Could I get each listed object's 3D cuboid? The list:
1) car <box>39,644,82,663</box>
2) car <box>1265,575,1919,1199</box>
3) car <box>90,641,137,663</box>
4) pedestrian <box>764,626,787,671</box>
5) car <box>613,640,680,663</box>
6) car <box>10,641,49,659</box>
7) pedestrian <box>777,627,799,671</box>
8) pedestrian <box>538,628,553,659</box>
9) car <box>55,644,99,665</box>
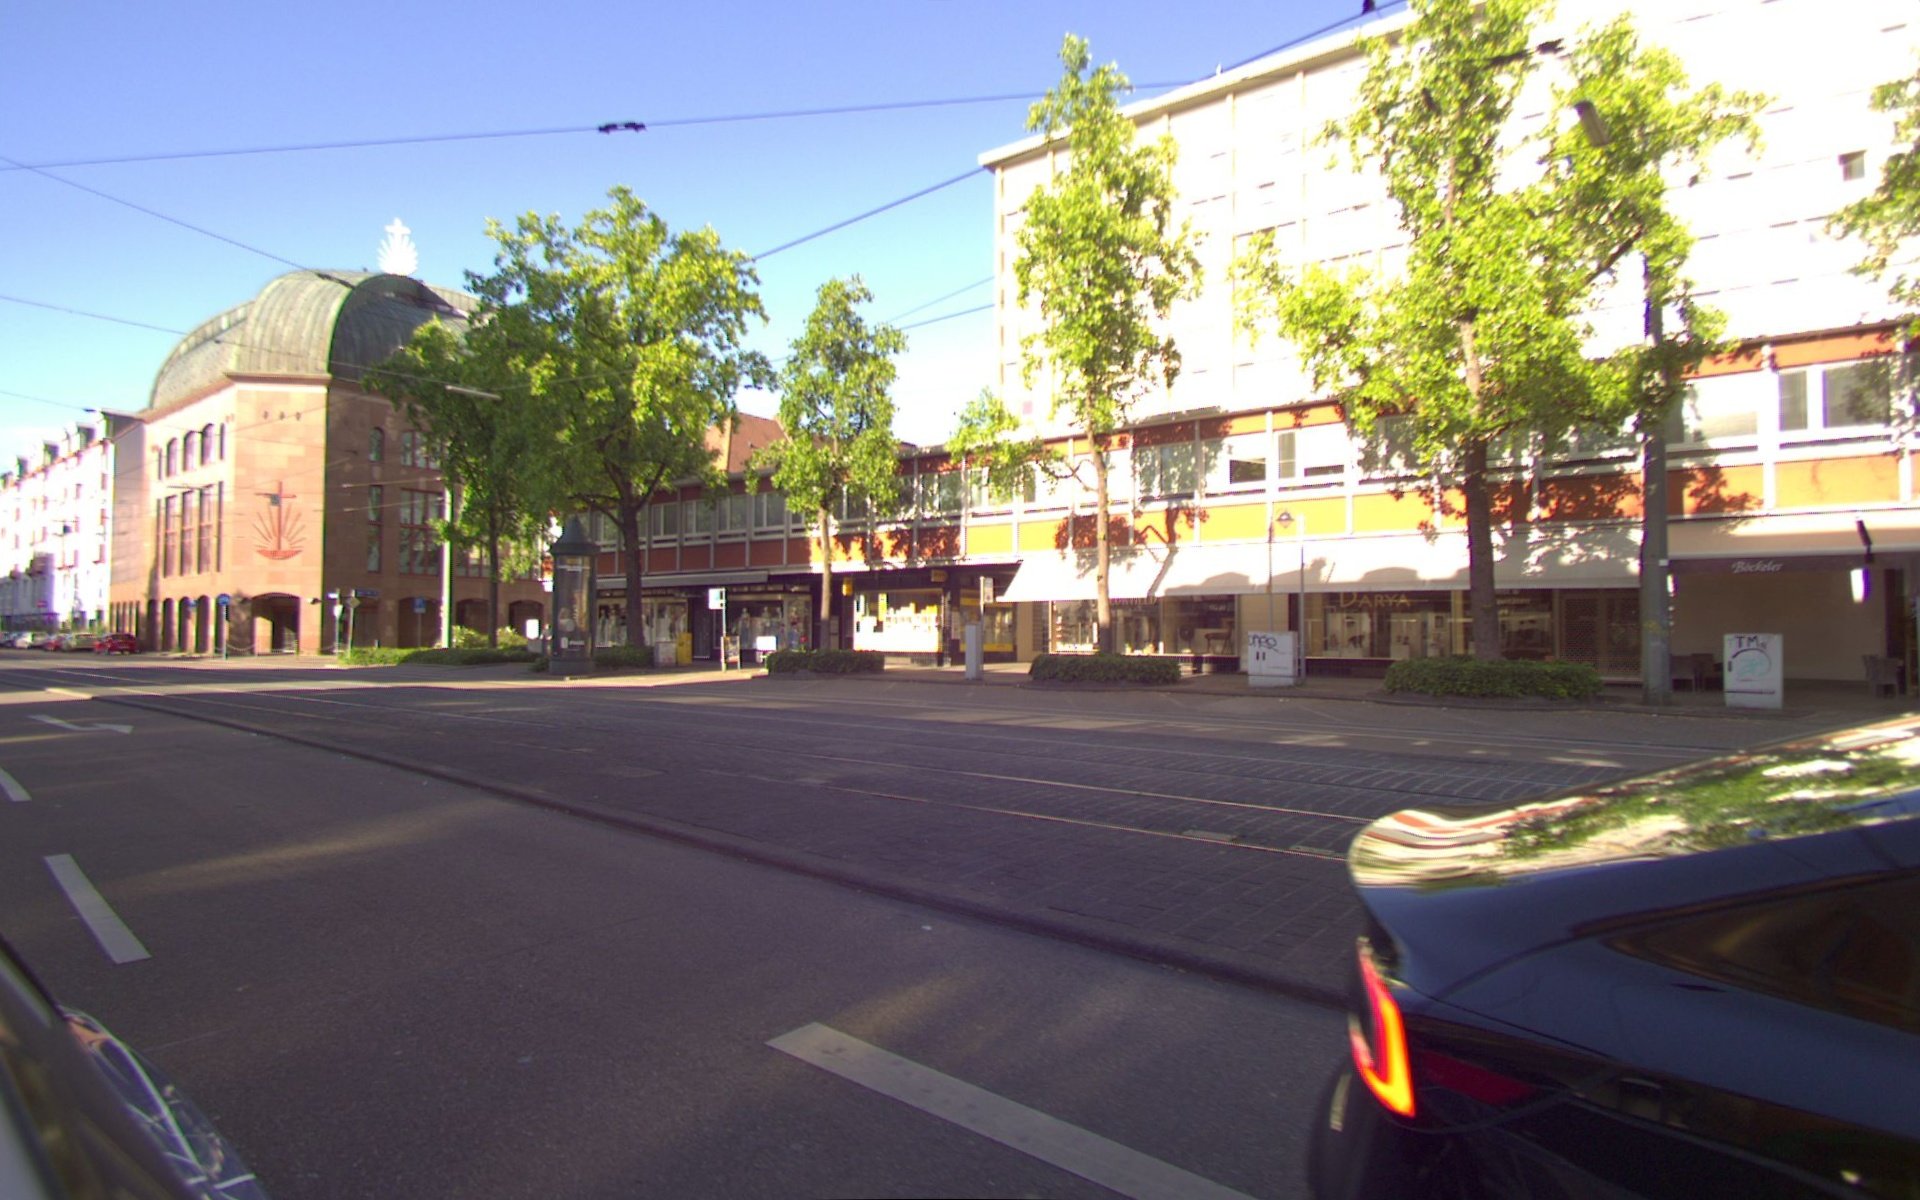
[{"bbox_3d":[-69.163,4.080,77.797,3.848,1.364,1.833,-2,-2,39],"label":"car"},{"bbox_3d":[2.539,0.661,0.595,4.148,1.434,1.793,-2,-1,38],"label":"car"},{"bbox_3d":[-57.502,3.510,68.751,3.465,1.465,1.732,-2,-2,37],"label":"car"},{"bbox_3d":[-7.384,1.934,40.420,0.705,1.785,0.566,-2,-3,40],"label":"pedestrian"},{"bbox_3d":[-21.856,3.581,70.685,1.992,1.542,4.231,-1,-3,30],"label":"car"},{"bbox_3d":[-78.034,4.162,84.895,3.848,1.465,1.833,-2,-2,39],"label":"car"},{"bbox_3d":[-6.962,1.972,40.938,0.705,1.764,0.566,-2,-3,40],"label":"pedestrian"},{"bbox_3d":[-21.403,2.250,52.247,0.440,1.604,0.723,3,-4,-42],"label":"pedestrian"},{"bbox_3d":[-65.270,4.033,74.782,3.848,1.465,1.833,-2,-2,39],"label":"car"}]
